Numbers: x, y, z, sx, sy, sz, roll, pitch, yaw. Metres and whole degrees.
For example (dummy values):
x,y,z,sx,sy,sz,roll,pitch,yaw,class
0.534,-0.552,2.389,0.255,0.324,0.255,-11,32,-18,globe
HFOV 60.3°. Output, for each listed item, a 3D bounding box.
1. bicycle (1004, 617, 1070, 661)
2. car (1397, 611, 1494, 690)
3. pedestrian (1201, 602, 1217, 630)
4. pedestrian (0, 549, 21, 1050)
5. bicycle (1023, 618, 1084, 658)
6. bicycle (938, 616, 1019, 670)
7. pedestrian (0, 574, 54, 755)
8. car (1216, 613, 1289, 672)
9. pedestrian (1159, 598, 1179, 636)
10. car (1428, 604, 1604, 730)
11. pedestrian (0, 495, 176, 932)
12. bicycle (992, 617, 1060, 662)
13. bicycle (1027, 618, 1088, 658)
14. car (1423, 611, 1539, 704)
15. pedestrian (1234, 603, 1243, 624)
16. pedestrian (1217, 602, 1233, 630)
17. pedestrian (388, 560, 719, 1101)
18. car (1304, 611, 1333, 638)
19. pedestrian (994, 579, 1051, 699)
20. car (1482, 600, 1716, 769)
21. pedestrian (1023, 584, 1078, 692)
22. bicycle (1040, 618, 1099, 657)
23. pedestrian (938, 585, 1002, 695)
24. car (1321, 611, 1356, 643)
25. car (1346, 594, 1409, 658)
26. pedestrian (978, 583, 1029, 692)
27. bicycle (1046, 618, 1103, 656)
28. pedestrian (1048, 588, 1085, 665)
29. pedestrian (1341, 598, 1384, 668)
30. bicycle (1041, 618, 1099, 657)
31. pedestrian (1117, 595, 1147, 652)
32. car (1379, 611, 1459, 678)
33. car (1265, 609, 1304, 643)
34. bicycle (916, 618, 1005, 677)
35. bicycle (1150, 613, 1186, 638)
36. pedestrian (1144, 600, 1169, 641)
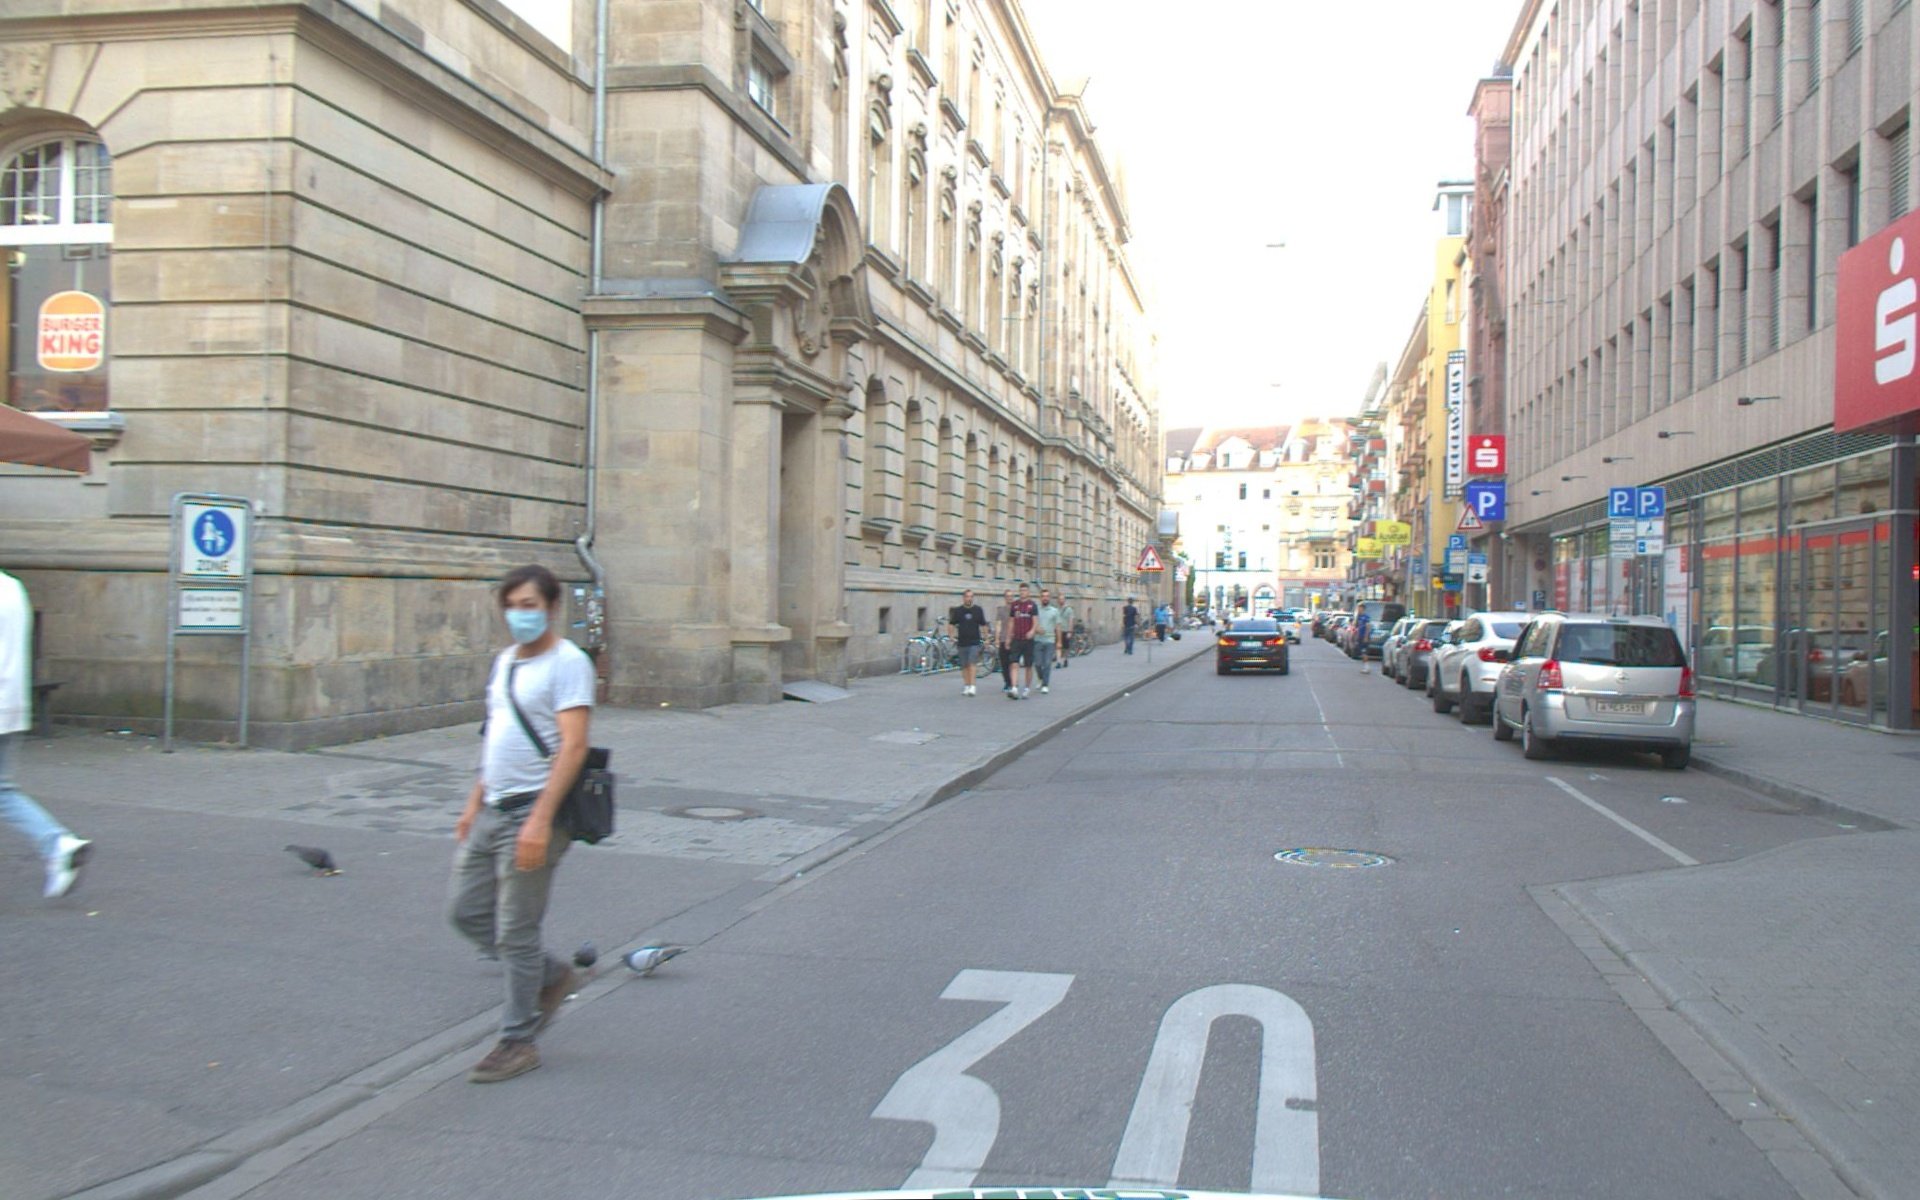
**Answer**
x,y,z,sx,sy,sz,roll,pitch,yaw,class
2.032,1.027,43.379,1.644,1.059,0.488,3,0,10,bicycle
10.409,1.043,35.635,1.609,1.549,3.287,3,0,11,car
16.430,1.049,109.045,0.913,1.782,0.811,4,0,8,pedestrian
-3.564,0.624,5.034,0.852,1.609,0.807,1,-2,11,pedestrian
2.635,1.071,46.668,1.644,1.059,0.488,3,0,10,bicycle
0.396,0.917,35.338,1.647,1.059,0.487,3,0,-6,bicycle
-7.561,0.488,12.801,0.758,1.331,0.662,5,2,36,pedestrian
7.463,1.059,42.232,1.732,1.433,4.055,0,-1,10,car
10.050,0.808,79.492,0.790,1.782,0.937,4,0,10,pedestrian
8.302,0.930,25.035,1.732,1.664,4.093,3,0,8,car
-4.302,0.469,7.598,0.853,1.871,0.868,3,0,6,pedestrian
1.680,1.009,42.153,1.644,1.059,0.488,3,0,10,bicycle
2.777,1.078,47.105,1.644,1.059,0.488,3,0,10,bicycle
9.653,1.024,30.831,1.609,1.549,3.287,3,0,11,car
24.436,1.153,145.353,0.651,1.782,0.681,4,0,8,pedestrian
17.495,1.065,109.265,0.913,1.782,0.811,4,0,8,pedestrian
-1.363,0.722,5.672,0.715,1.675,0.872,0,-1,21,pedestrian
22.066,1.515,101.904,1.609,1.549,3.287,3,0,11,car
1.008,0.622,26.556,0.683,1.843,0.976,4,0,9,pedestrian
7.279,0.882,19.240,1.732,1.664,4.056,3,0,10,car
1.566,0.650,28.500,0.770,1.782,0.722,4,0,9,pedestrian
3.210,1.097,48.380,1.644,1.059,0.488,3,0,10,bicycle
0.170,0.638,26.751,0.780,1.704,0.976,4,0,9,pedestrian
20.026,1.402,87.532,1.609,1.549,3.287,3,0,11,car
14.611,0.886,57.998,1.830,2.053,3.769,3,0,11,car
0.750,0.637,28.176,0.674,1.782,0.722,4,0,9,pedestrian
3.457,1.120,50.116,1.644,1.059,0.488,3,0,10,bicycle
2.556,0.640,39.642,0.703,1.782,0.669,4,0,9,pedestrian
10.552,0.863,43.386,0.811,1.822,0.720,1,0,-28,pedestrian
3.256,1.103,48.844,1.644,1.059,0.488,3,0,10,bicycle
5.557,0.762,53.437,0.787,1.782,0.811,4,0,9,pedestrian
11.517,1.081,41.661,1.609,1.549,3.287,3,0,11,car
15.757,1.231,80.380,1.756,1.537,4.003,1,0,10,car
0.007,0.927,32.525,1.644,1.059,0.487,3,0,16,bicycle
10.081,1.239,80.271,1.644,1.059,0.488,4,0,12,bicycle
8.275,0.869,69.556,0.913,1.665,0.655,4,0,9,pedestrian
